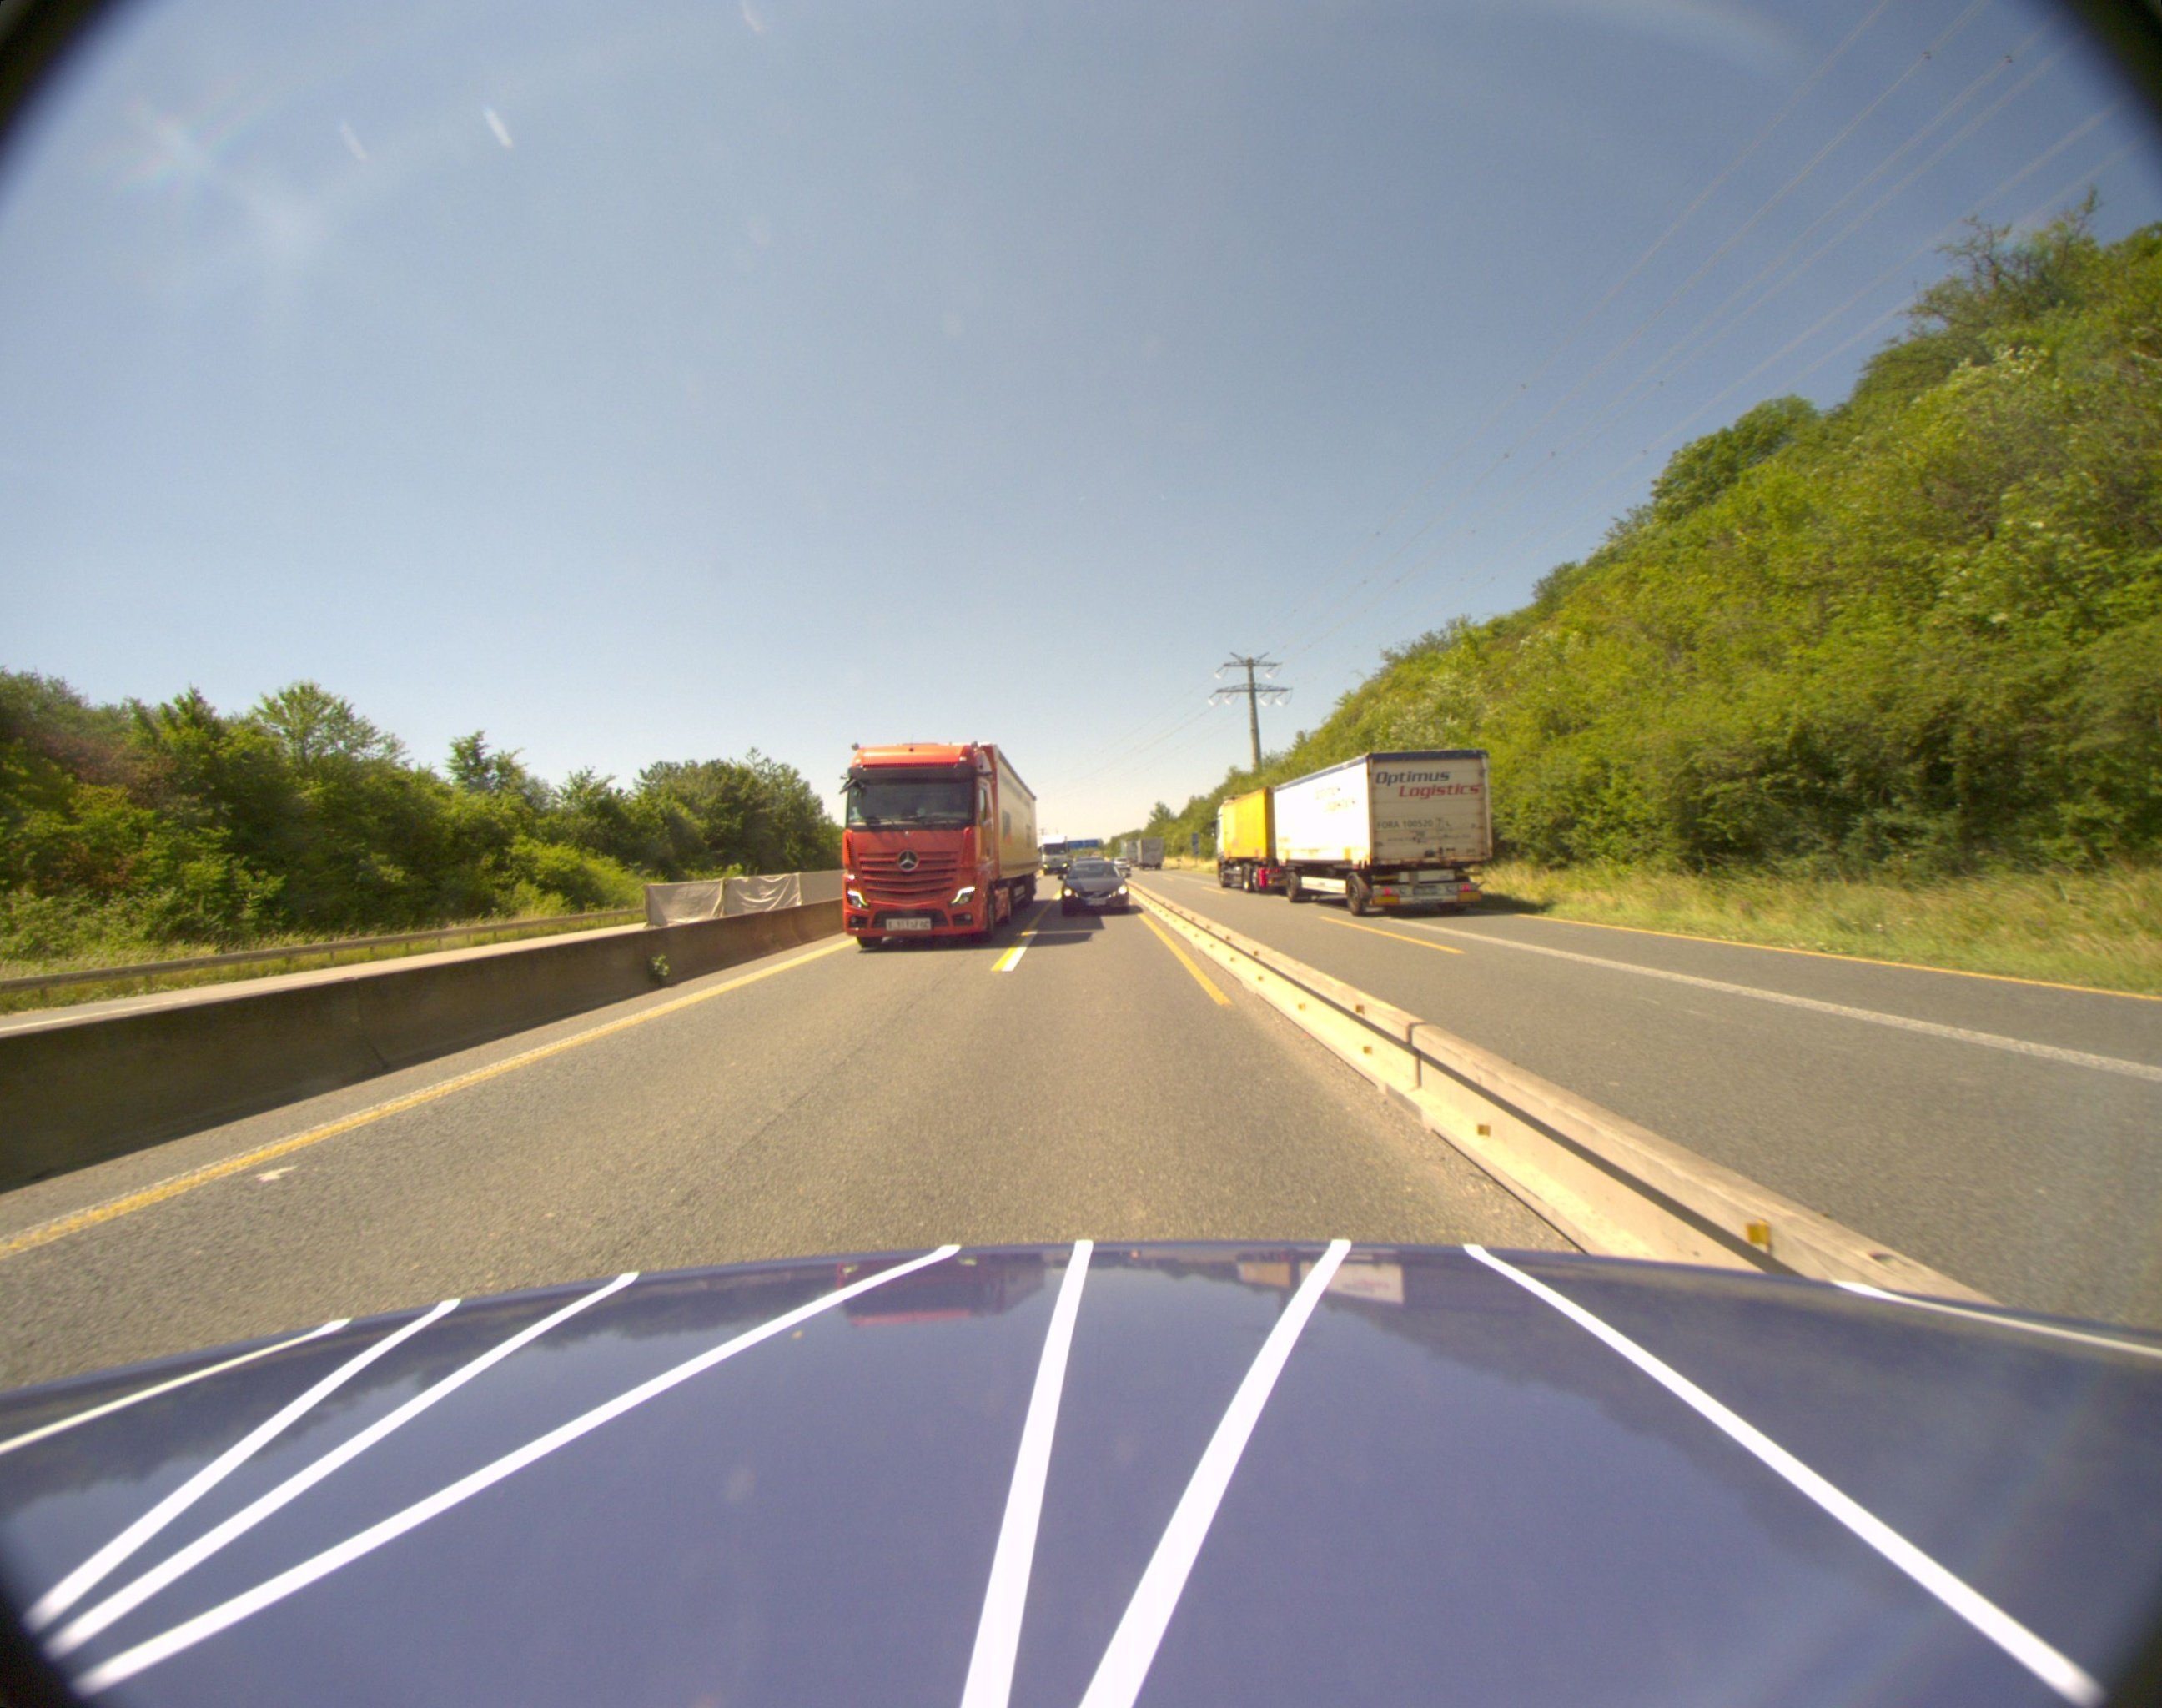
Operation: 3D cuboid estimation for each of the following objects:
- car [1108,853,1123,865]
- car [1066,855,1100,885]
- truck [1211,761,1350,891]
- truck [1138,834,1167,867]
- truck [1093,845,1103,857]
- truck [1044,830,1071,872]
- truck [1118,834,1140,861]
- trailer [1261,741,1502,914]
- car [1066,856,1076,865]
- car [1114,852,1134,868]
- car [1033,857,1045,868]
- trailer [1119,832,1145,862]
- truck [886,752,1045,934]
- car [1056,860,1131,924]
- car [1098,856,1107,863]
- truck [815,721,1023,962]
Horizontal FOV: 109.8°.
[{"bbox_3d":[4.653,0.661,102.796,1.765,1.481,4.401,-3,1,1],"label":"car"},{"bbox_3d":[0.138,0.893,43.934,1.767,1.523,4.698,-3,1,1],"label":"car"},{"bbox_3d":[7.216,-0.893,29.110,2.656,3.969,9.650,-4,0,1],"label":"truck"},{"bbox_3d":[7.518,-0.399,80.770,2.411,3.311,7.499,-3,1,1],"label":"truck"},{"bbox_3d":[5.509,-1.086,251.545,2.943,3.754,11.379,-4,0,1],"label":"truck"},{"bbox_3d":[-2.407,-0.294,82.057,2.481,4.030,13.109,-3,0,-1],"label":"truck"},{"bbox_3d":[7.559,-0.978,120.878,2.902,4.094,6.020,-3,0,0],"label":"truck"},{"bbox_3d":[7.121,-0.536,19.801,2.657,3.317,8.919,-4,0,1],"label":"trailer"},{"bbox_3d":[-1.804,1.127,135.684,1.767,1.523,4.698,-3,1,-1],"label":"car"},{"bbox_3d":[4.497,0.617,79.786,1.846,1.481,4.510,-1,1,0],"label":"car"},{"bbox_3d":[-6.806,1.361,122.369,1.767,1.523,4.697,-3,1,-2],"label":"car"},{"bbox_3d":[7.547,-0.980,113.846,2.899,4.101,13.243,-3,0,0],"label":"trailer"},{"bbox_3d":[-2.909,-0.306,23.726,2.689,3.987,13.217,-3,1,0],"label":"truck"},{"bbox_3d":[0.344,0.950,21.026,1.767,1.411,4.698,-3,1,1],"label":"car"},{"bbox_3d":[4.753,1.204,168.272,1.904,1.496,4.276,-3,0,0],"label":"car"},{"bbox_3d":[-3.014,-0.240,16.327,2.689,3.987,6.725,-3,1,1],"label":"truck"}]
